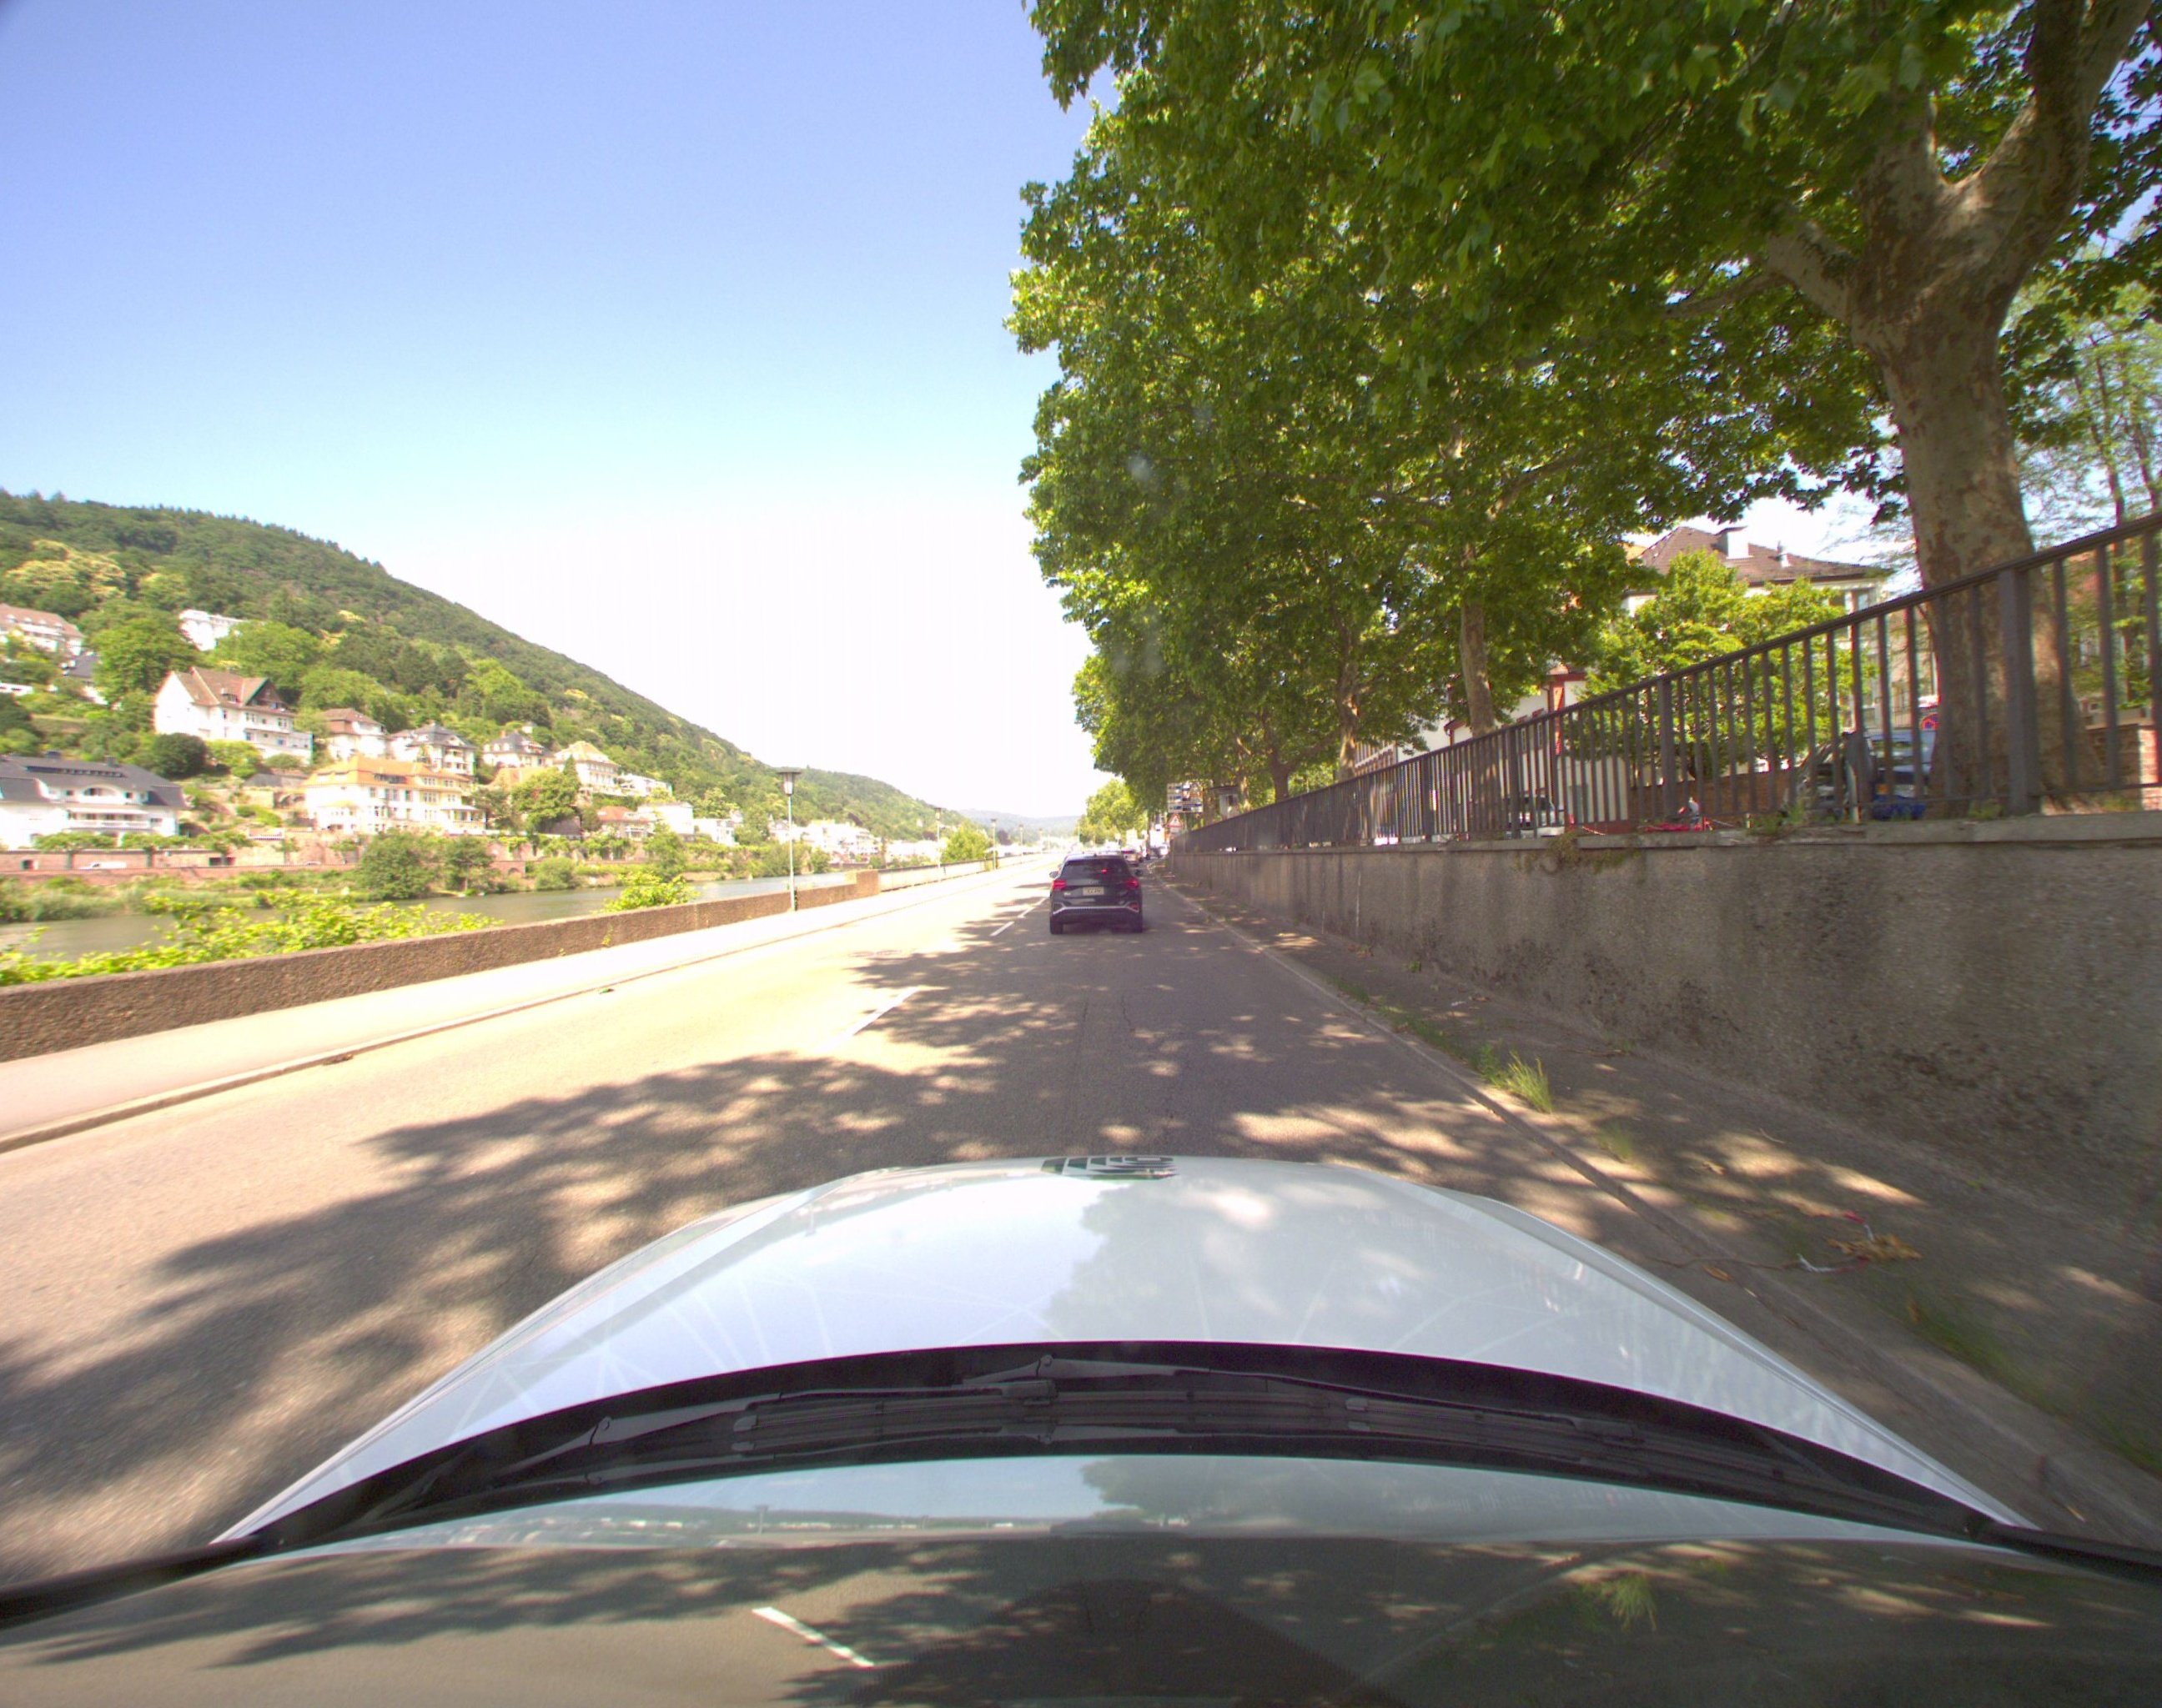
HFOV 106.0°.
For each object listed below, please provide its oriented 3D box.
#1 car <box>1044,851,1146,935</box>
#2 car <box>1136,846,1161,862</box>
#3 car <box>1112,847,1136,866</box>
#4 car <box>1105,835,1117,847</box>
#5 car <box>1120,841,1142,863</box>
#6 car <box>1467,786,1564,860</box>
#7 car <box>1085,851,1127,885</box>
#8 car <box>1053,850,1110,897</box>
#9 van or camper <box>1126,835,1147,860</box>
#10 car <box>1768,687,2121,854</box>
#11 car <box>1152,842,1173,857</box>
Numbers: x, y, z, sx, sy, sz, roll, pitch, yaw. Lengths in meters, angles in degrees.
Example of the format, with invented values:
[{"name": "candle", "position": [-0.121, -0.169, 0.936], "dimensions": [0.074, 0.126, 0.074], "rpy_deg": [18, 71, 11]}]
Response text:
[{"name": "car", "position": [0.309, 0.705, 16.872], "dimensions": [1.822, 1.486, 4.001], "rpy_deg": [-1, 0, 1]}, {"name": "car", "position": [9.347, -0.034, 113.093], "dimensions": [3.087, 2.013, 5.826], "rpy_deg": [-3, 0, 1]}, {"name": "car", "position": [3.526, 0.212, 66.885], "dimensions": [1.822, 1.444, 4.001], "rpy_deg": [-1, 0, 1]}, {"name": "car", "position": [5.467, -2.355, 150.686], "dimensions": [1.986, 2.013, 4.001], "rpy_deg": [-5, 0, 1]}, {"name": "car", "position": [5.279, -0.205, 86.336], "dimensions": [1.986, 2.169, 4.001], "rpy_deg": [-3, 0, 1]}, {"name": "car", "position": [10.012, -0.656, 18.647], "dimensions": [1.757, 1.469, 4.025], "rpy_deg": [-1, 0, 30]}, {"name": "car", "position": [1.174, 0.617, 38.156], "dimensions": [1.822, 1.486, 4.001], "rpy_deg": [-1, 0, 1]}, {"name": "car", "position": [0.070, 0.640, 28.776], "dimensions": [1.822, 1.511, 4.001], "rpy_deg": [-1, 0, 1]}, {"name": "van or camper", "position": [6.689, -0.759, 98.932], "dimensions": [2.300, 2.847, 4.249], "rpy_deg": [-3, 0, 3]}, {"name": "car", "position": [9.723, -0.787, 9.594], "dimensions": [1.633, 1.500, 3.841], "rpy_deg": [-2, 0, 27]}, {"name": "car", "position": [12.388, -0.739, 124.414], "dimensions": [2.652, 2.013, 5.826], "rpy_deg": [-5, 0, 1]}]
